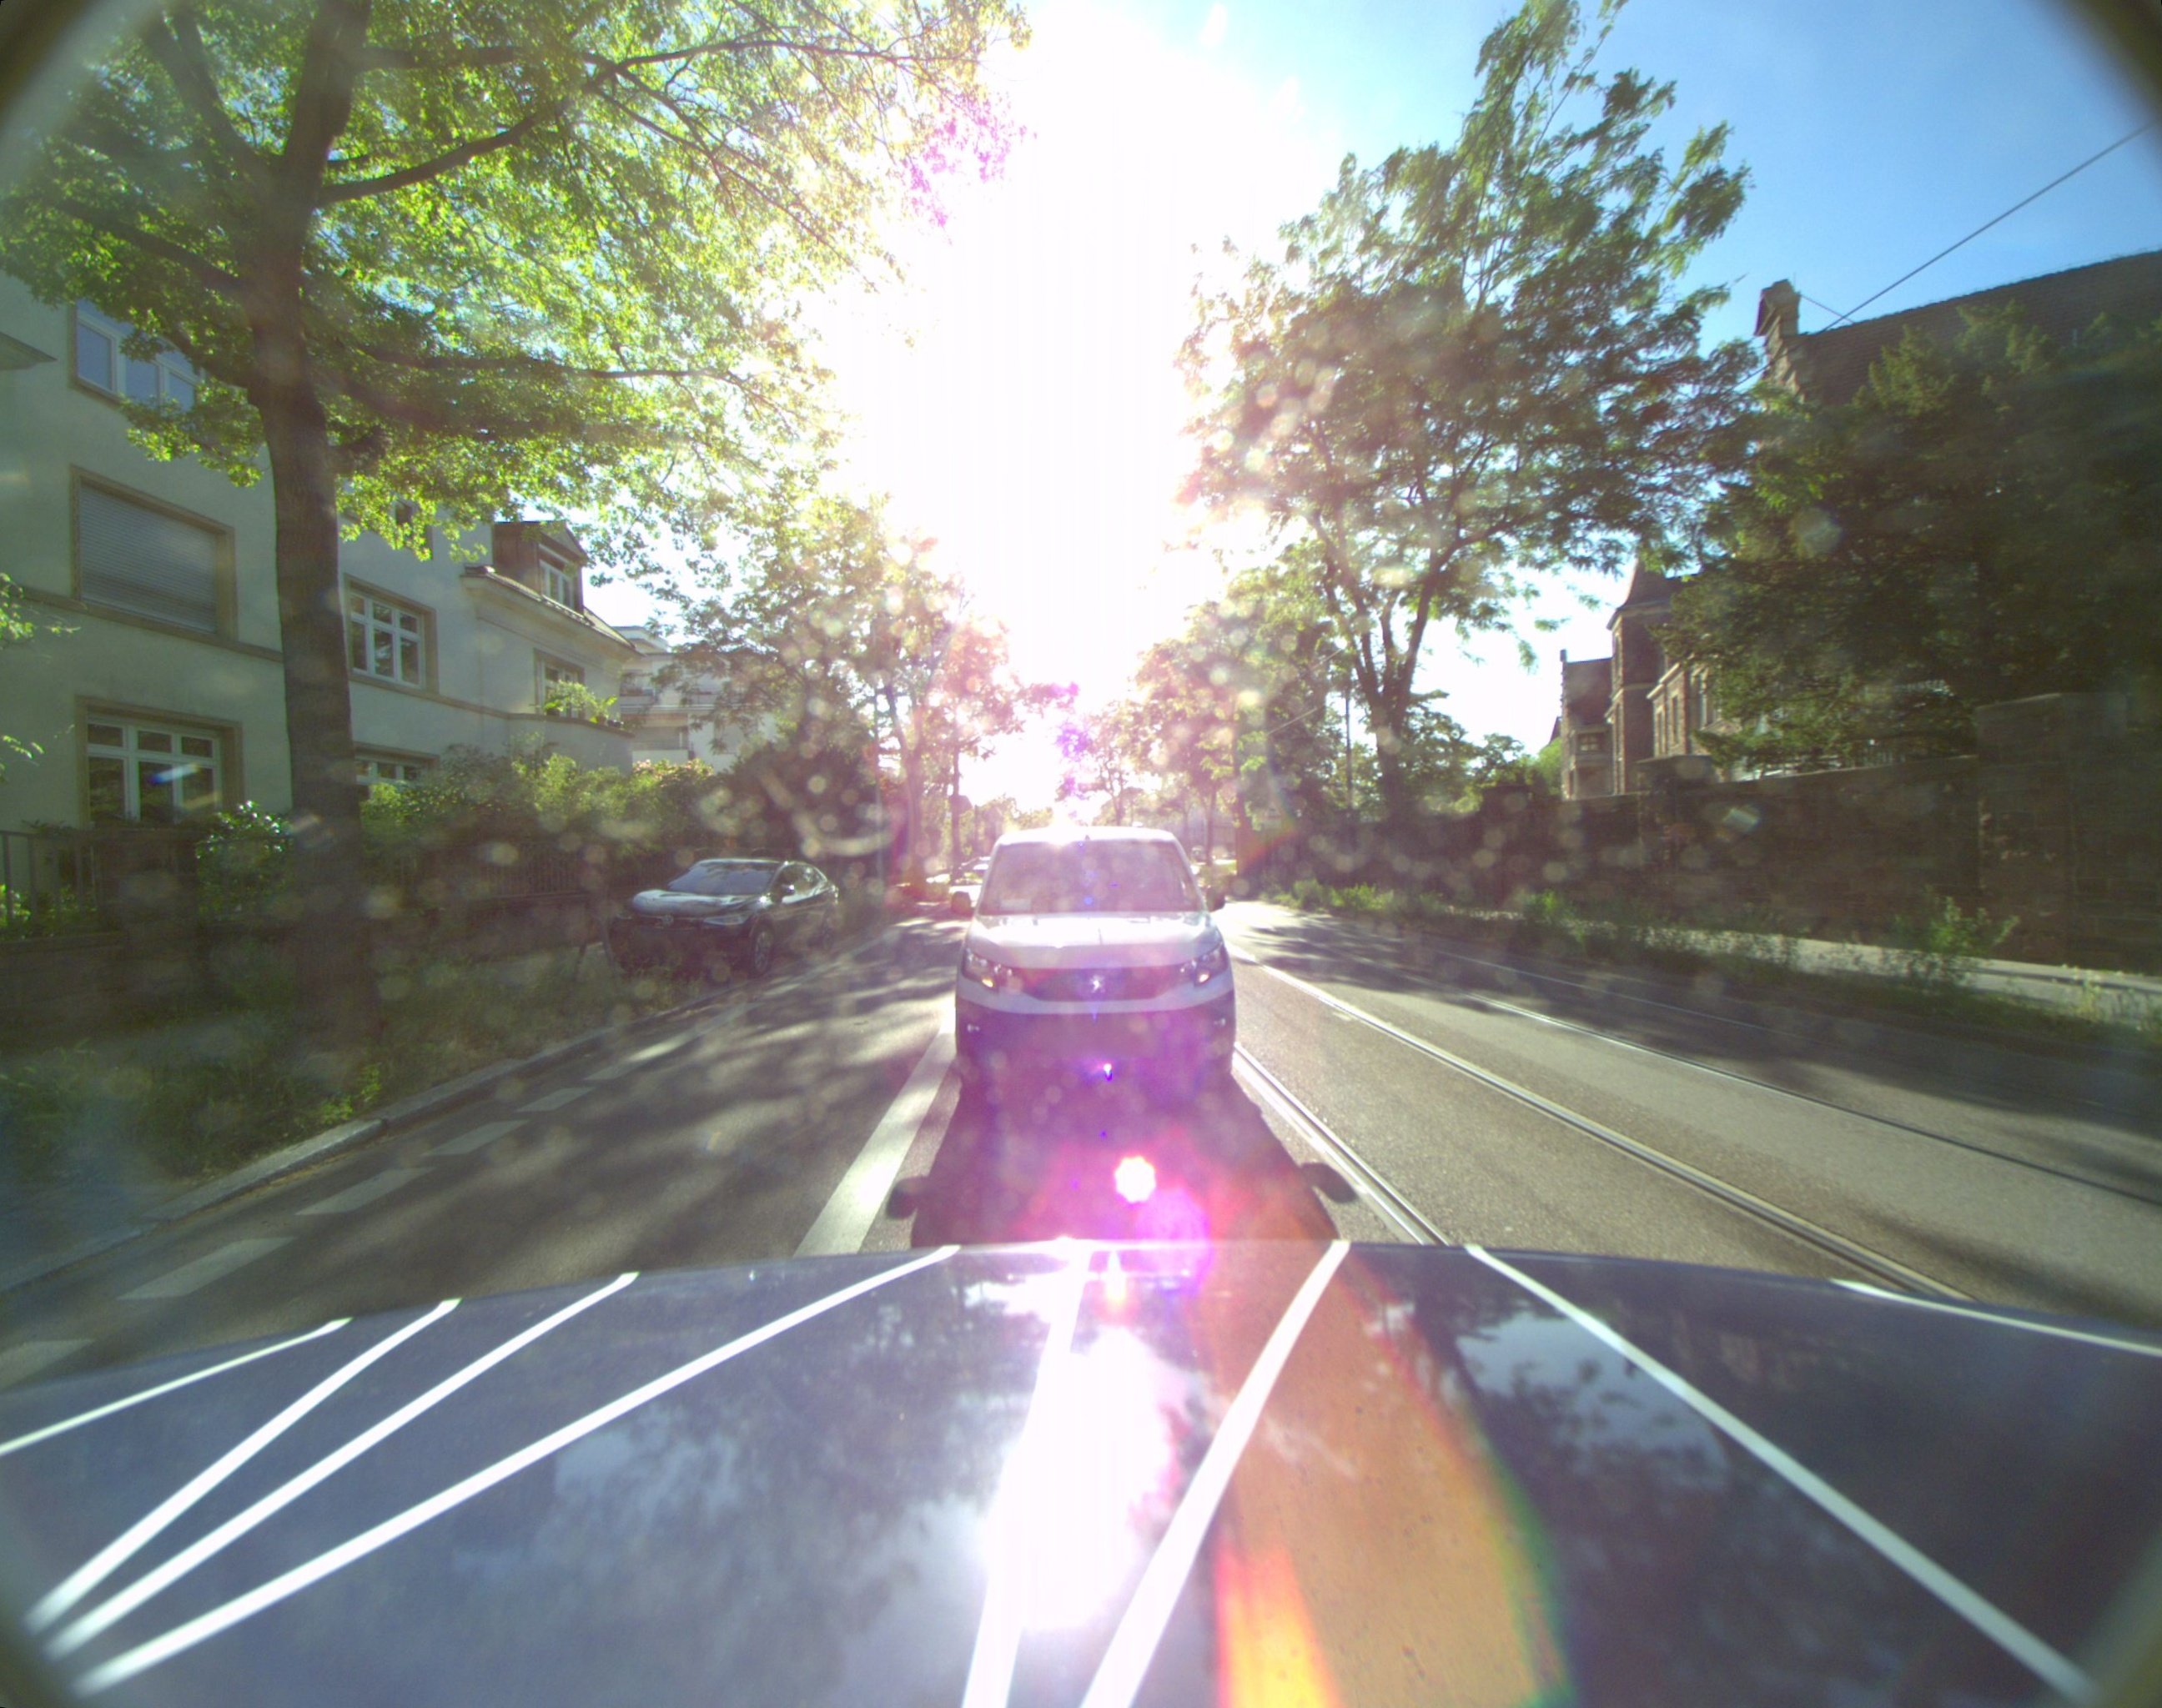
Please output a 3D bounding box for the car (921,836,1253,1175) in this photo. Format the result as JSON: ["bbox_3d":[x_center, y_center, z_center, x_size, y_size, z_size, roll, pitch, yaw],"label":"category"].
[{"bbox_3d":[0.027,0.813,6.105,1.768,1.812,3.999,-1,0,0],"label":"car"}]

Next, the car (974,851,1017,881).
[{"bbox_3d":[-5.047,0.673,45.212,1.823,1.630,4.001,-2,0,4],"label":"car"}]

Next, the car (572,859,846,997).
[{"bbox_3d":[-5.251,0.942,11.539,1.999,1.665,4.380,1,-1,0],"label":"car"}]

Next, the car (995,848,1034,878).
[{"bbox_3d":[-4.507,0.579,51.907,2.129,1.884,4.746,-2,0,1],"label":"car"}]
